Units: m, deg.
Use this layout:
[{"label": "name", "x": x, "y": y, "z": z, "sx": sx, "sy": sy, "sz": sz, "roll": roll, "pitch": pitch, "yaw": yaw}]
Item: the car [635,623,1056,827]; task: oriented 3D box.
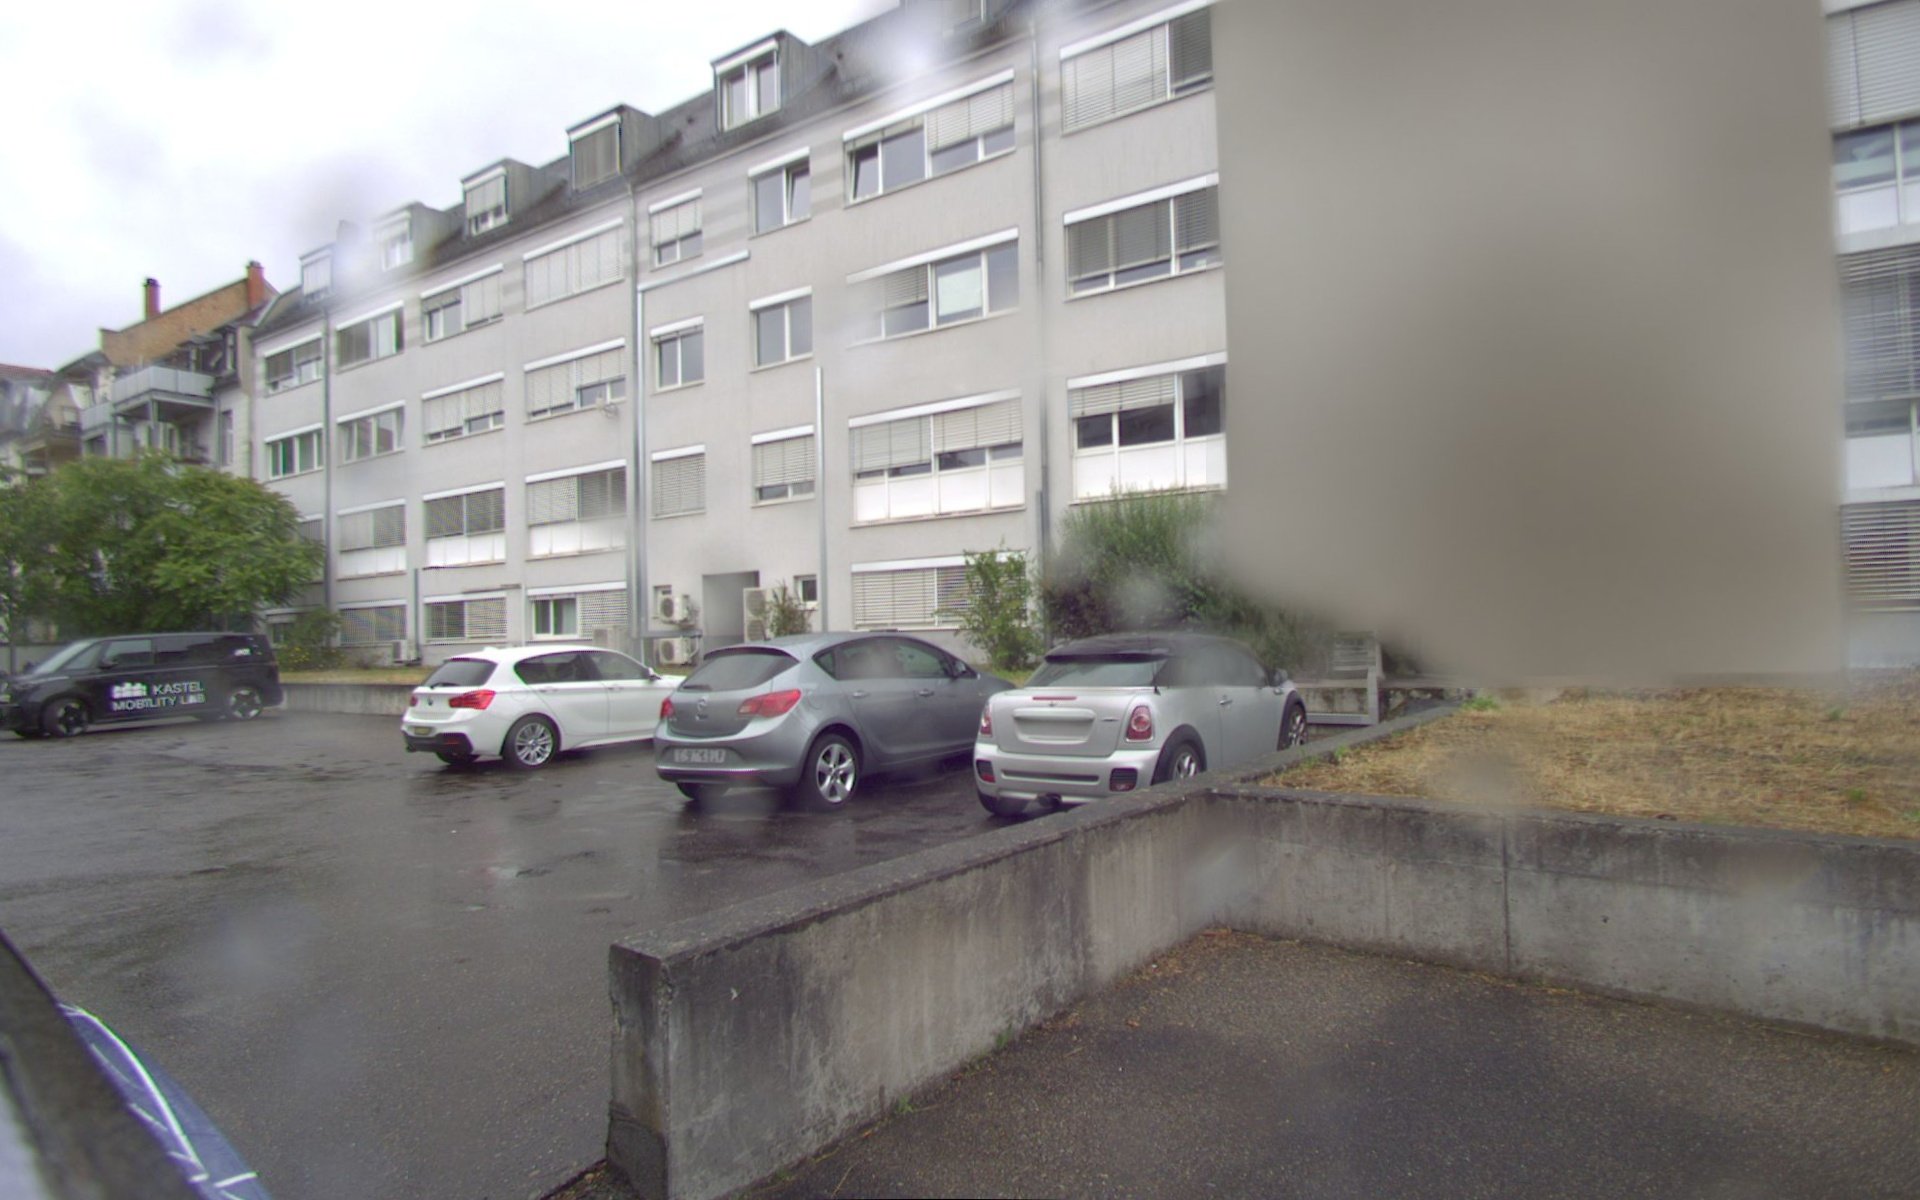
[{"label": "car", "x": -0.876, "y": 1.032, "z": 9.879, "sx": 1.817, "sy": 1.495, "sz": 4.130, "roll": -4, "pitch": -3, "yaw": 34}]

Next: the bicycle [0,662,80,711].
[{"label": "bicycle", "x": -24.907, "y": 2.300, "z": 26.846, "sx": 0.643, "sy": 1.195, "sz": 2.290, "roll": 0, "pitch": 0, "yaw": 39}]

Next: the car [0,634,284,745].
[{"label": "car", "x": -16.667, "y": 1.715, "z": 20.472, "sx": 1.981, "sy": 1.851, "sz": 4.581, "roll": -4, "pitch": -2, "yaw": 31}]

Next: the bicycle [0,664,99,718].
[{"label": "bicycle", "x": -23.363, "y": 2.292, "z": 25.630, "sx": 0.643, "sy": 1.195, "sz": 2.290, "roll": 0, "pitch": 0, "yaw": 39}]

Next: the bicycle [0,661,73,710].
[{"label": "bicycle", "x": -25.425, "y": 2.302, "z": 27.210, "sx": 0.643, "sy": 1.195, "sz": 2.290, "roll": 0, "pitch": 0, "yaw": 39}]

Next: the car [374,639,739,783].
[{"label": "car", "x": -4.993, "y": 1.288, "z": 13.049, "sx": 1.749, "sy": 1.444, "sz": 4.104, "roll": -3, "pitch": -2, "yaw": 34}]

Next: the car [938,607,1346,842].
[{"label": "car", "x": 1.797, "y": 0.859, "z": 8.716, "sx": 1.818, "sy": 1.343, "sz": 4.129, "roll": -4, "pitch": 0, "yaw": 35}]

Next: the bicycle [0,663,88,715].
[{"label": "bicycle", "x": -24.028, "y": 2.295, "z": 26.076, "sx": 0.643, "sy": 1.195, "sz": 2.290, "roll": 0, "pitch": 0, "yaw": 39}]

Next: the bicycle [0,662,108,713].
[{"label": "bicycle", "x": -24.199, "y": 2.299, "z": 26.923, "sx": 0.643, "sy": 1.195, "sz": 2.290, "roll": 0, "pitch": 0, "yaw": 39}]
